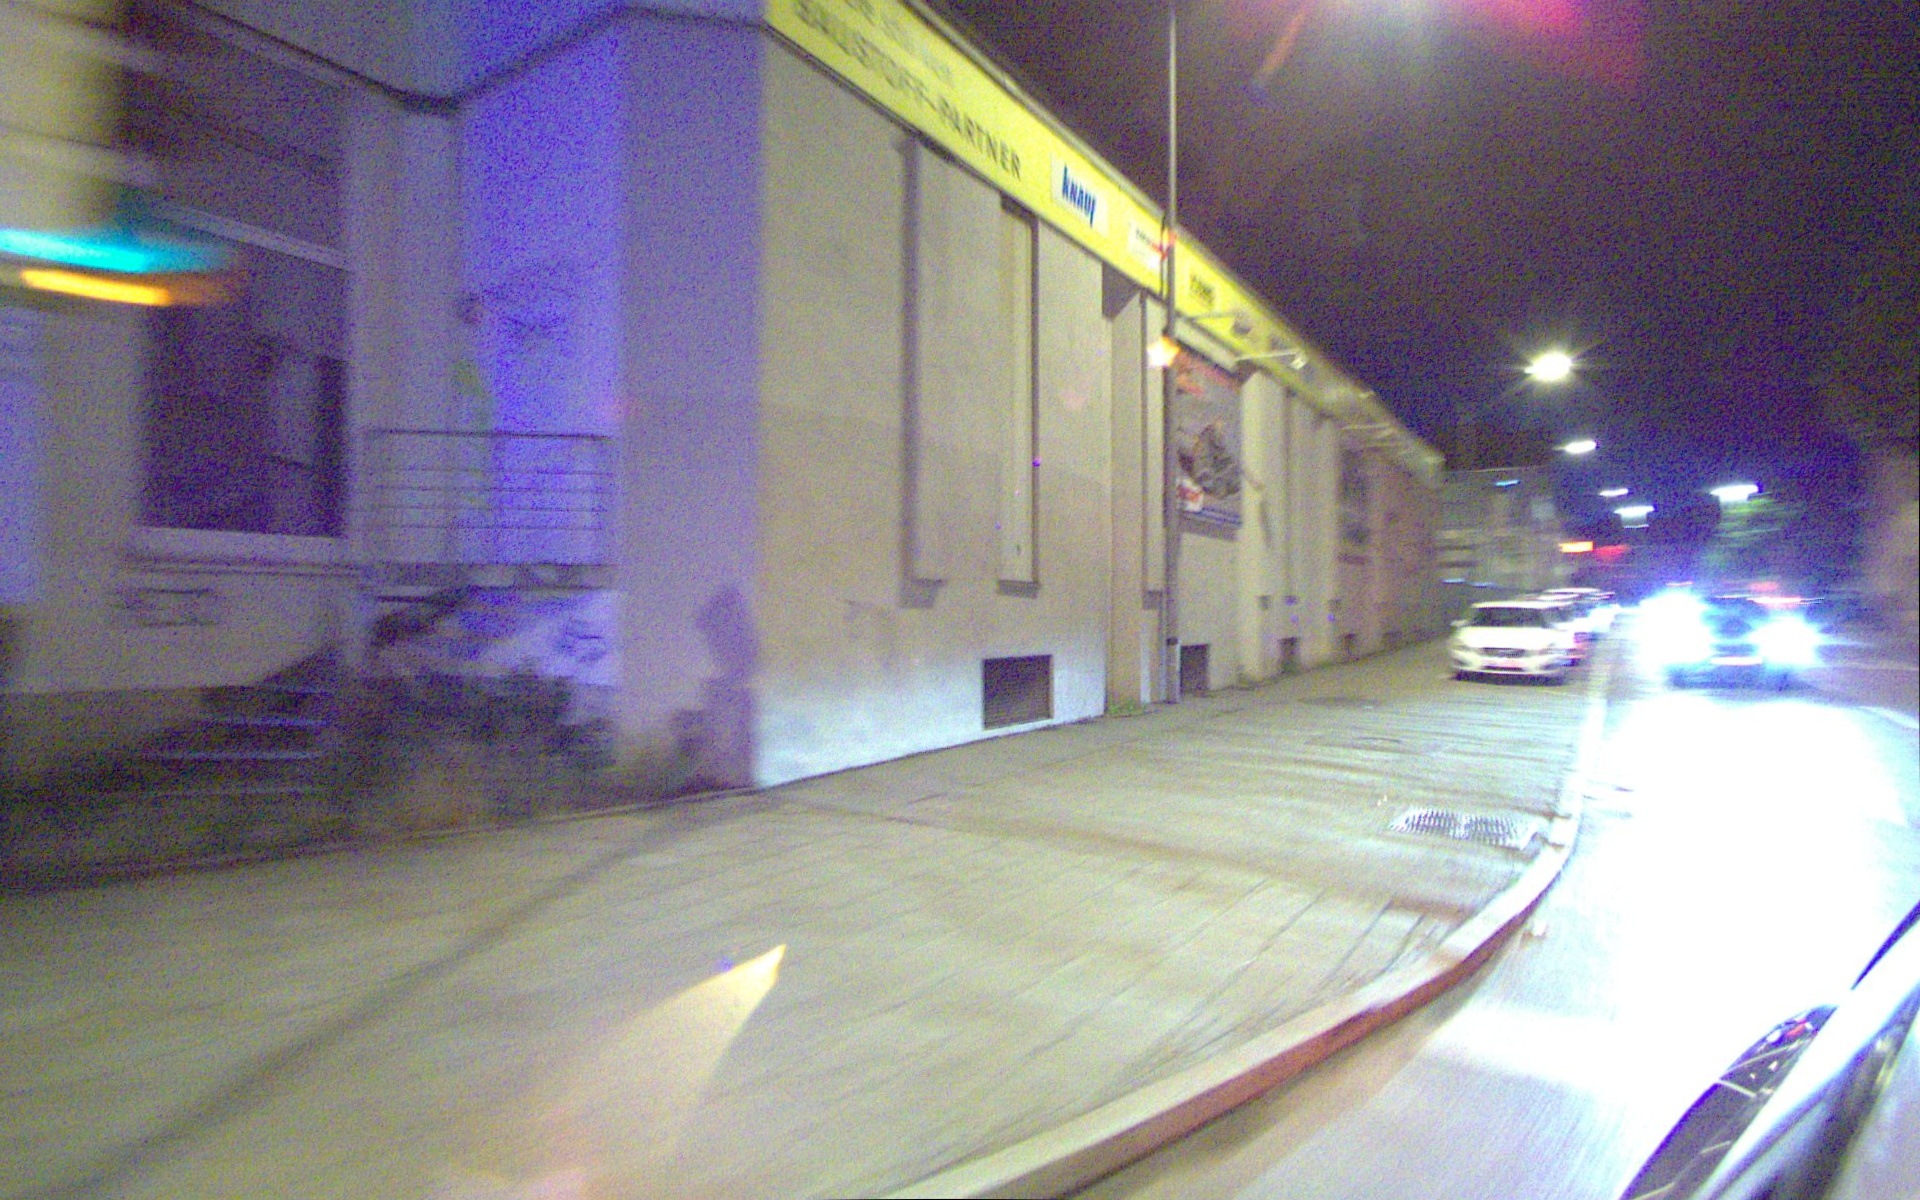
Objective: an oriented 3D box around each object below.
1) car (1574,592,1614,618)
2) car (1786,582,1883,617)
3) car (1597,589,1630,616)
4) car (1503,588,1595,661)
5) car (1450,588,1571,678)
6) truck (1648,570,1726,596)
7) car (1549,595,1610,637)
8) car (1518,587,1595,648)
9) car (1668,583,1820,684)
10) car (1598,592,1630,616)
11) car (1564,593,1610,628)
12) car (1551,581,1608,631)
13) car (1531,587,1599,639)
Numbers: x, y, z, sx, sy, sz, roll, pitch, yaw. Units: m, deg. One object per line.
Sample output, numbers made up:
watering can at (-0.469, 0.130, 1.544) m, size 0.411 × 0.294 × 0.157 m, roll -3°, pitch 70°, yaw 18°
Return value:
car at (36.938, 0.265, 58.955) m, size 1.773 × 1.444 × 4.425 m, roll -1°, pitch 0°, yaw 35°
car at (49.682, -0.045, 57.560) m, size 1.877 × 1.913 × 3.991 m, roll -1°, pitch 0°, yaw -43°
car at (50.985, 0.135, 78.963) m, size 2.064 × 1.952 × 5.307 m, roll 1°, pitch 2°, yaw 33°
car at (14.308, 0.521, 24.543) m, size 1.766 × 1.563 × 4.496 m, roll -1°, pitch 0°, yaw 31°
car at (10.775, 0.546, 19.649) m, size 1.851 × 1.507 × 4.496 m, roll -1°, pitch 0°, yaw 31°
truck at (108.561, -2.567, 151.247) m, size 1.965 × 3.769 × 9.347 m, roll -1°, pitch 1°, yaw -39°
car at (23.055, 0.541, 37.632) m, size 1.809 × 1.445 × 4.140 m, roll 1°, pitch 1°, yaw 33°
car at (17.531, 0.456, 29.685) m, size 1.815 × 1.643 × 4.407 m, roll 1°, pitch 0°, yaw 32°
car at (14.238, 0.518, 18.596) m, size 1.987 × 1.636 × 3.950 m, roll 0°, pitch 0°, yaw 35°
car at (48.075, 0.290, 74.444) m, size 1.811 × 1.618 × 4.173 m, roll 3°, pitch 2°, yaw 32°
car at (28.324, 0.454, 45.674) m, size 1.589 × 1.485 × 3.844 m, roll -1°, pitch 0°, yaw 34°
car at (25.701, 0.223, 41.908) m, size 1.794 × 1.898 × 4.716 m, roll 2°, pitch 1°, yaw 34°
car at (20.157, 0.397, 33.664) m, size 1.816 × 1.609 × 4.574 m, roll 1°, pitch 0°, yaw 32°
